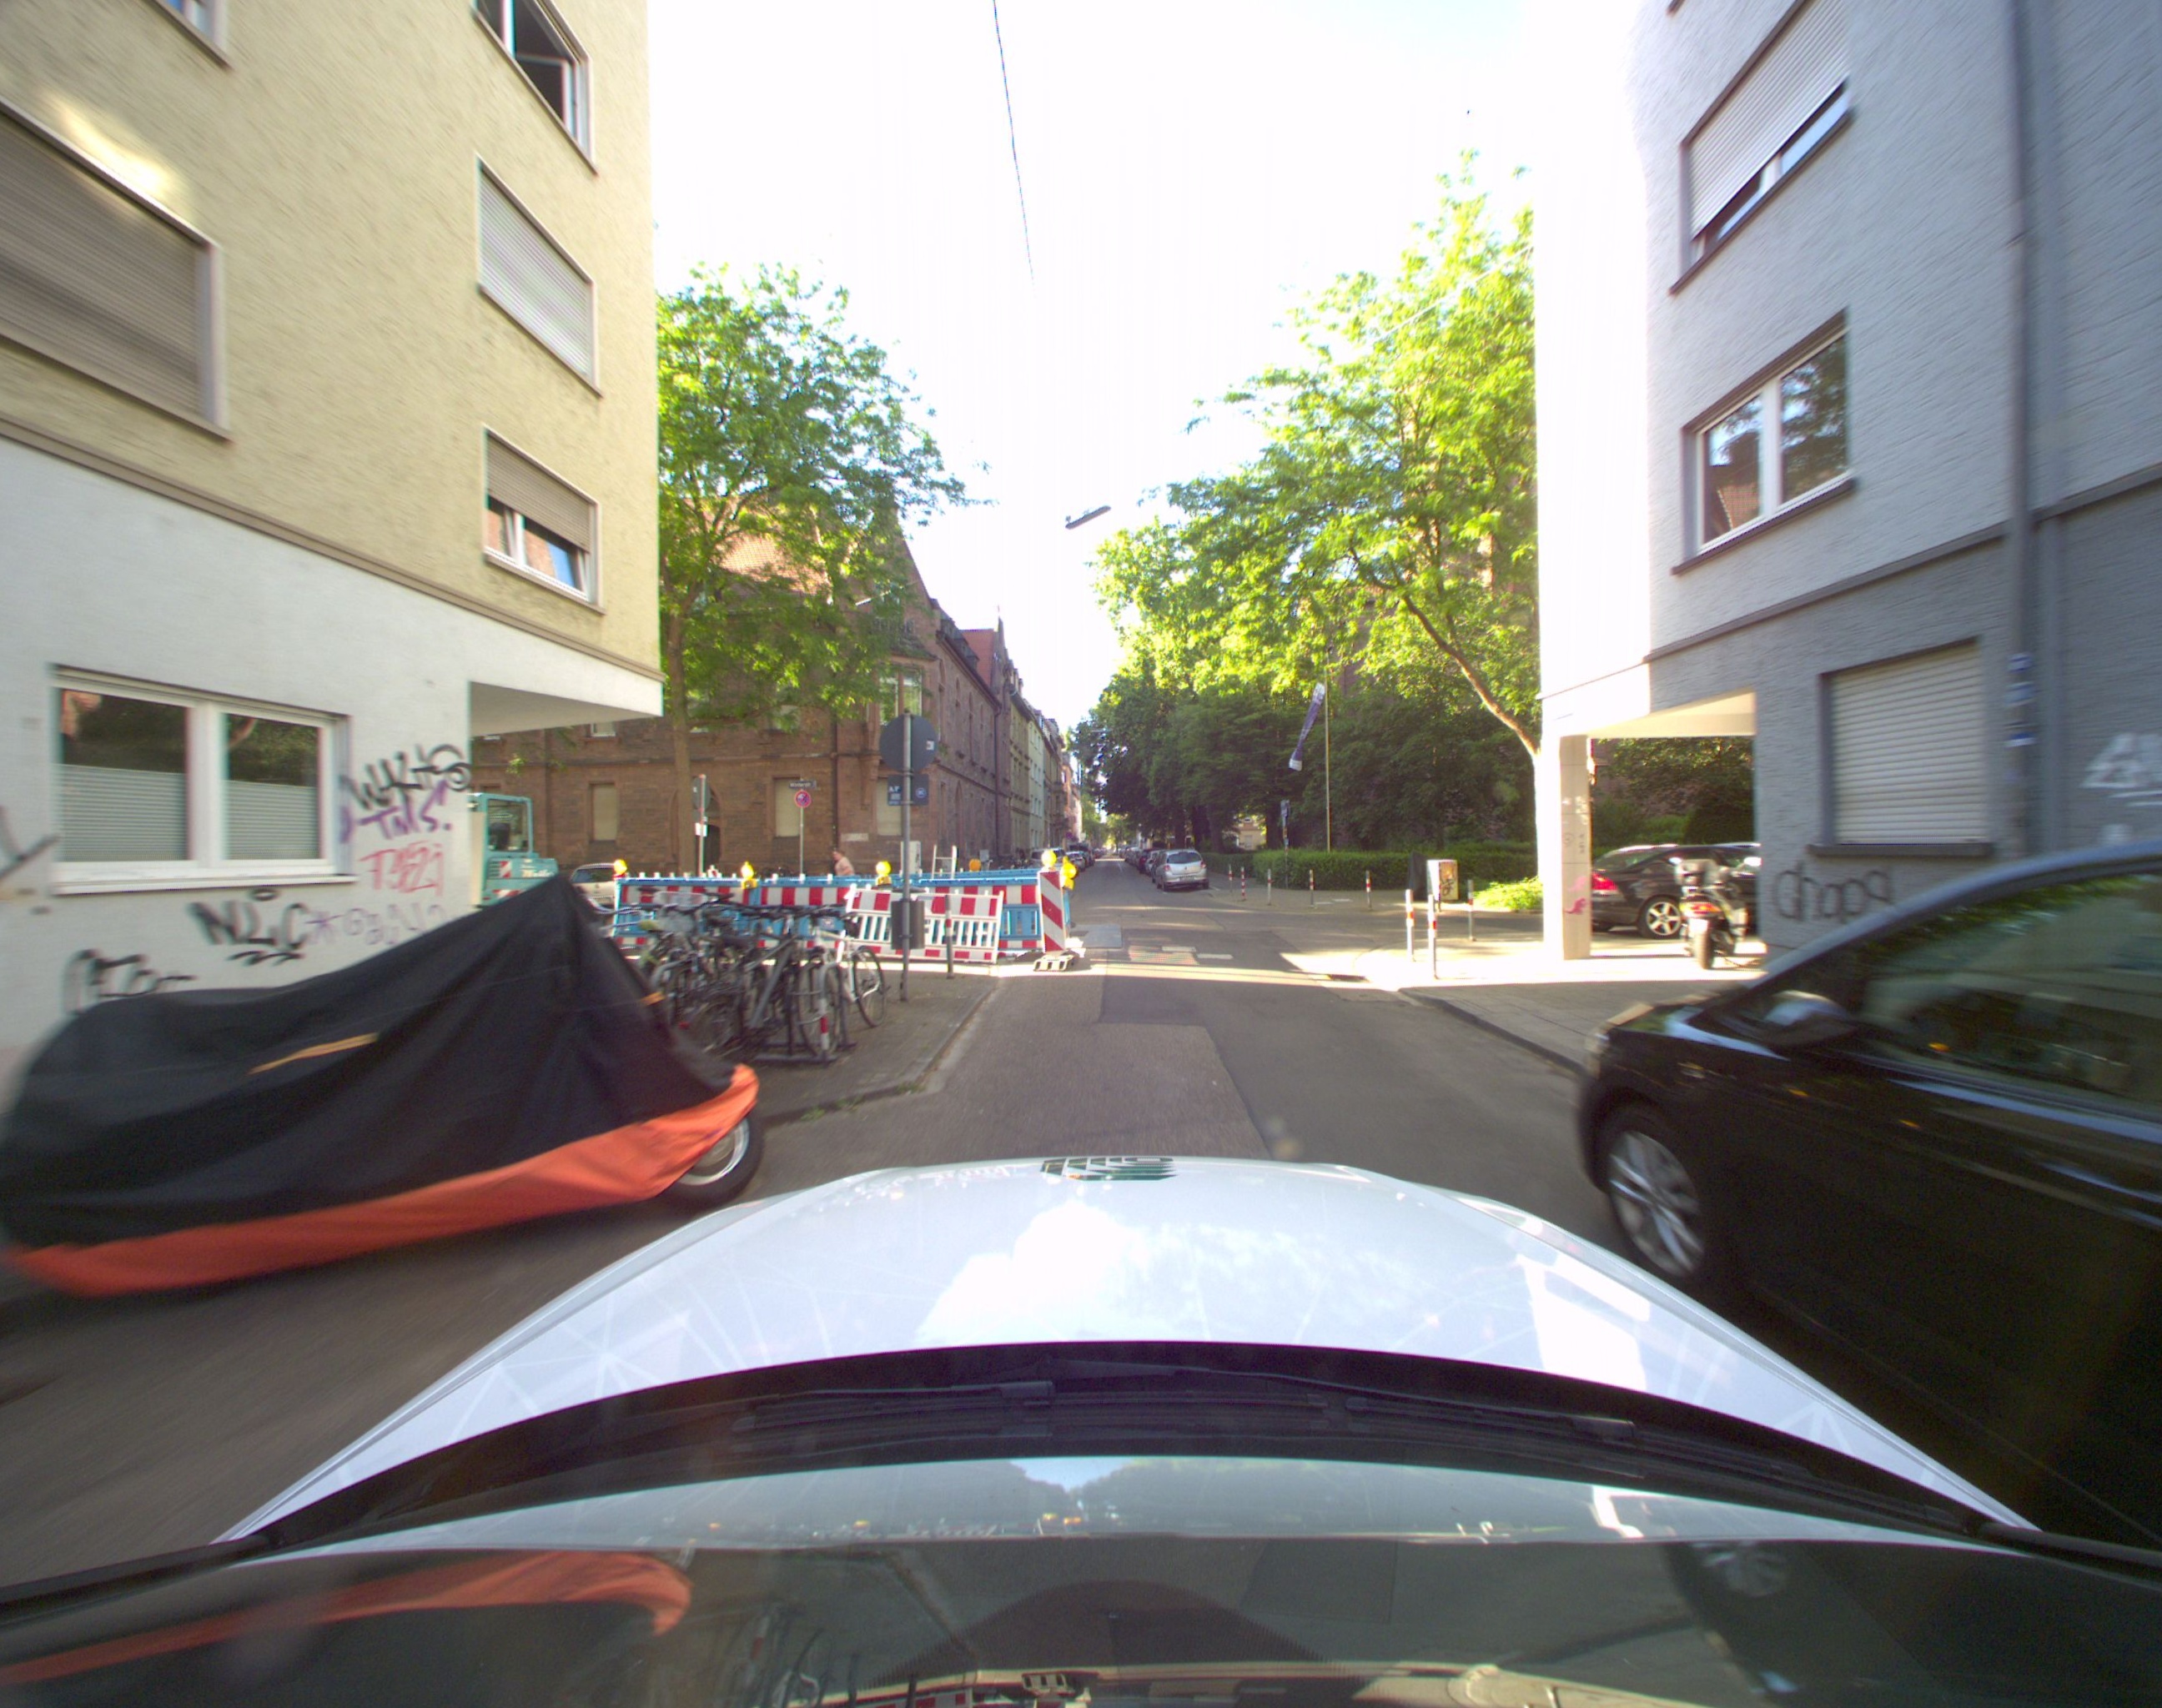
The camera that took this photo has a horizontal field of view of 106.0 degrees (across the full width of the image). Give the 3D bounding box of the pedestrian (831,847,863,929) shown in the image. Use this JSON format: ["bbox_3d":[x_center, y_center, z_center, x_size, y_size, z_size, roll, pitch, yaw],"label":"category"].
[{"bbox_3d":[-5.131,0.735,17.856,0.523,1.740,0.557,-1,0,-3],"label":"pedestrian"}]

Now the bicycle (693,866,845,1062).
[{"bbox_3d":[-2.373,0.759,6.430,0.398,1.227,1.874,-2,2,1],"label":"bicycle"}]

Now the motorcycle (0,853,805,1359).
[{"bbox_3d":[-2.503,0.759,3.305,2.524,1.482,0.896,-1,0,-25],"label":"motorcycle"}]

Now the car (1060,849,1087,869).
[{"bbox_3d":[-0.492,0.349,57.820,1.765,1.353,4.002,-1,0,2],"label":"car"}]

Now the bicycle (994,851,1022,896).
[{"bbox_3d":[-2.484,0.640,27.422,0.573,1.423,2.491,-1,0,-13],"label":"bicycle"}]

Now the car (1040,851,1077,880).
[{"bbox_3d":[-1.162,0.584,43.624,1.719,1.393,4.002,-1,0,2],"label":"car"}]

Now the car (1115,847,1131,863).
[{"bbox_3d":[4.844,0.071,94.654,1.683,1.728,4.001,1,0,1],"label":"car"}]

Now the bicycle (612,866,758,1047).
[{"bbox_3d":[-3.198,0.753,6.739,0.293,1.227,1.700,-1,2,2],"label":"bicycle"}]

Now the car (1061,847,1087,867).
[{"bbox_3d":[-0.513,0.245,67.294,1.986,1.574,4.001,-1,0,1],"label":"car"}]

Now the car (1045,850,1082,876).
[{"bbox_3d":[-0.989,0.525,48.138,1.874,1.411,4.003,-3,0,3],"label":"car"}]

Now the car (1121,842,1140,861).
[{"bbox_3d":[6.224,-0.315,102.341,2.153,2.255,4.526,-1,0,1],"label":"car"}]

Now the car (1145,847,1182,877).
[{"bbox_3d":[4.725,0.426,47.272,1.834,1.596,4.001,-1,0,1],"label":"car"}]

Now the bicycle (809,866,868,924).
[{"bbox_3d":[-6.396,1.054,21.647,0.680,1.321,2.447,-1,2,3],"label":"bicycle"}]

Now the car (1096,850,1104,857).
[{"bbox_3d":[4.974,-0.107,213.683,1.986,1.647,4.002,-1,0,2],"label":"car"}]

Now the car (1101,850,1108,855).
[{"bbox_3d":[6.955,-0.434,244.368,1.986,1.647,4.002,-1,0,2],"label":"car"}]

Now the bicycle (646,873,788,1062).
[{"bbox_3d":[-2.826,0.813,6.477,0.362,1.227,1.554,-2,2,1],"label":"bicycle"}]

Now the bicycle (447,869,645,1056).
[{"bbox_3d":[-4.287,0.793,6.700,0.398,1.227,1.815,-1,2,-1],"label":"bicycle"}]

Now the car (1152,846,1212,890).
[{"bbox_3d":[3.771,0.488,30.918,1.718,1.522,3.999,-2,0,-1],"label":"car"}]

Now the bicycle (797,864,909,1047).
[{"bbox_3d":[-1.779,0.731,6.544,0.398,1.227,1.505,-2,2,1],"label":"bicycle"}]

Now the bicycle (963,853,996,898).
[{"bbox_3d":[-3.439,0.691,27.831,0.680,1.423,2.799,-1,0,2],"label":"bicycle"}]

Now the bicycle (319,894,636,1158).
[{"bbox_3d":[-3.415,0.870,4.858,0.545,1.155,1.870,-1,0,-3],"label":"bicycle"}]

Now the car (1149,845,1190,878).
[{"bbox_3d":[4.513,0.358,42.082,1.735,1.574,4.001,-1,0,1],"label":"car"}]

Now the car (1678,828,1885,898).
[{"bbox_3d":[18.005,0.203,21.161,1.720,1.618,3.749,-1,0,-16],"label":"car"}]

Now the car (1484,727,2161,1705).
[{"bbox_3d":[2.748,0.587,1.531,1.893,1.640,4.392,-1,0,2],"label":"car"}]

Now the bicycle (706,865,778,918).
[{"bbox_3d":[-8.856,0.945,21.388,0.680,1.180,2.448,-1,2,4],"label":"bicycle"}]

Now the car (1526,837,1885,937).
[{"bbox_3d":[9.804,0.487,13.057,4.333,1.388,1.850,-1,0,0],"label":"car"}]

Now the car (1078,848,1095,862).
[{"bbox_3d":[0.713,0.121,95.775,1.896,1.574,4.001,-1,0,1],"label":"car"}]

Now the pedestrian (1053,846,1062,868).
[{"bbox_3d":[-2.160,0.266,74.525,0.683,2.013,0.690,-1,0,-5],"label":"pedestrian"}]

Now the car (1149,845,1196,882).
[{"bbox_3d":[4.037,0.422,36.448,1.717,1.522,4.001,-1,0,1],"label":"car"}]

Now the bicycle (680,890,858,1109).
[{"bbox_3d":[-1.991,0.857,5.425,0.423,1.140,1.668,1,0,4],"label":"bicycle"}]

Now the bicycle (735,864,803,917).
[{"bbox_3d":[-8.128,0.918,21.360,0.680,1.180,2.448,-1,2,4],"label":"bicycle"}]

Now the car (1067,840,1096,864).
[{"bbox_3d":[0.064,-0.193,75.134,2.299,2.114,5.174,-1,0,3],"label":"car"}]

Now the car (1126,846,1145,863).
[{"bbox_3d":[5.540,0.006,83.181,1.823,1.703,4.001,-1,0,1],"label":"car"}]

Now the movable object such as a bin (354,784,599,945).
[{"bbox_3d":[-10.617,0.181,14.494,2.738,2.600,2.074,-1,0,6],"label":"movable object such as a bin"}]

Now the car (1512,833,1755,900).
[{"bbox_3d":[14.408,0.319,21.612,1.809,1.552,5.052,-1,0,-31],"label":"car"}]

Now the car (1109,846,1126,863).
[{"bbox_3d":[4.053,0.050,89.773,1.748,1.750,4.001,-1,0,1],"label":"car"}]

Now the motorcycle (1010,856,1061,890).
[{"bbox_3d":[-1.731,0.707,30.710,0.669,1.207,2.284,-1,0,-40],"label":"motorcycle"}]

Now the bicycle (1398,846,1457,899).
[{"bbox_3d":[9.697,0.491,22.744,0.767,1.371,2.137,-2,0,45],"label":"bicycle"}]

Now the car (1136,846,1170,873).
[{"bbox_3d":[4.587,0.316,52.111,1.887,1.625,4.001,-1,0,1],"label":"car"}]

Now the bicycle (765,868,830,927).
[{"bbox_3d":[-7.374,1.089,21.354,0.680,1.321,2.447,-1,2,3],"label":"bicycle"}]

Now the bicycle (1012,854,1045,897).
[{"bbox_3d":[-1.778,0.697,27.356,0.683,1.345,2.491,-1,0,-13],"label":"bicycle"}]

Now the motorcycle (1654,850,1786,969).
[{"bbox_3d":[7.398,0.590,9.387,2.168,1.227,0.735,0,-3,-41],"label":"motorcycle"}]

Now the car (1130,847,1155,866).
[{"bbox_3d":[5.417,0.204,72.281,1.986,1.574,4.001,-1,0,1],"label":"car"}]

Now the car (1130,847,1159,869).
[{"bbox_3d":[4.789,0.290,61.989,1.986,1.574,4.001,-1,0,1],"label":"car"}]

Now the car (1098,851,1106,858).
[{"bbox_3d":[5.699,0.107,222.749,1.986,1.647,4.002,-1,0,2],"label":"car"}]

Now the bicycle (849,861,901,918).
[{"bbox_3d":[-5.378,0.908,21.388,0.680,1.321,2.145,-1,2,3],"label":"bicycle"}]

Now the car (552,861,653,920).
[{"bbox_3d":[-13.559,0.958,23.325,1.862,1.483,4.239,-1,0,-22],"label":"car"}]

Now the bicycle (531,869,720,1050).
[{"bbox_3d":[-3.819,0.804,7.040,0.398,1.227,2.031,-1,2,2],"label":"bicycle"}]

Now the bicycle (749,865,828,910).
[{"bbox_3d":[-8.342,0.950,23.258,1.954,1.180,0.686,-1,2,2],"label":"bicycle"}]

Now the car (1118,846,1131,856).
[{"bbox_3d":[7.483,-0.559,139.983,1.986,1.728,4.002,-2,0,2],"label":"car"}]

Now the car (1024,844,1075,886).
[{"bbox_3d":[-1.389,0.474,37.062,1.874,1.707,4.003,-3,0,3],"label":"car"}]

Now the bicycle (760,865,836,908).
[{"bbox_3d":[-8.311,0.940,23.980,1.954,1.180,0.686,-1,2,3],"label":"bicycle"}]
